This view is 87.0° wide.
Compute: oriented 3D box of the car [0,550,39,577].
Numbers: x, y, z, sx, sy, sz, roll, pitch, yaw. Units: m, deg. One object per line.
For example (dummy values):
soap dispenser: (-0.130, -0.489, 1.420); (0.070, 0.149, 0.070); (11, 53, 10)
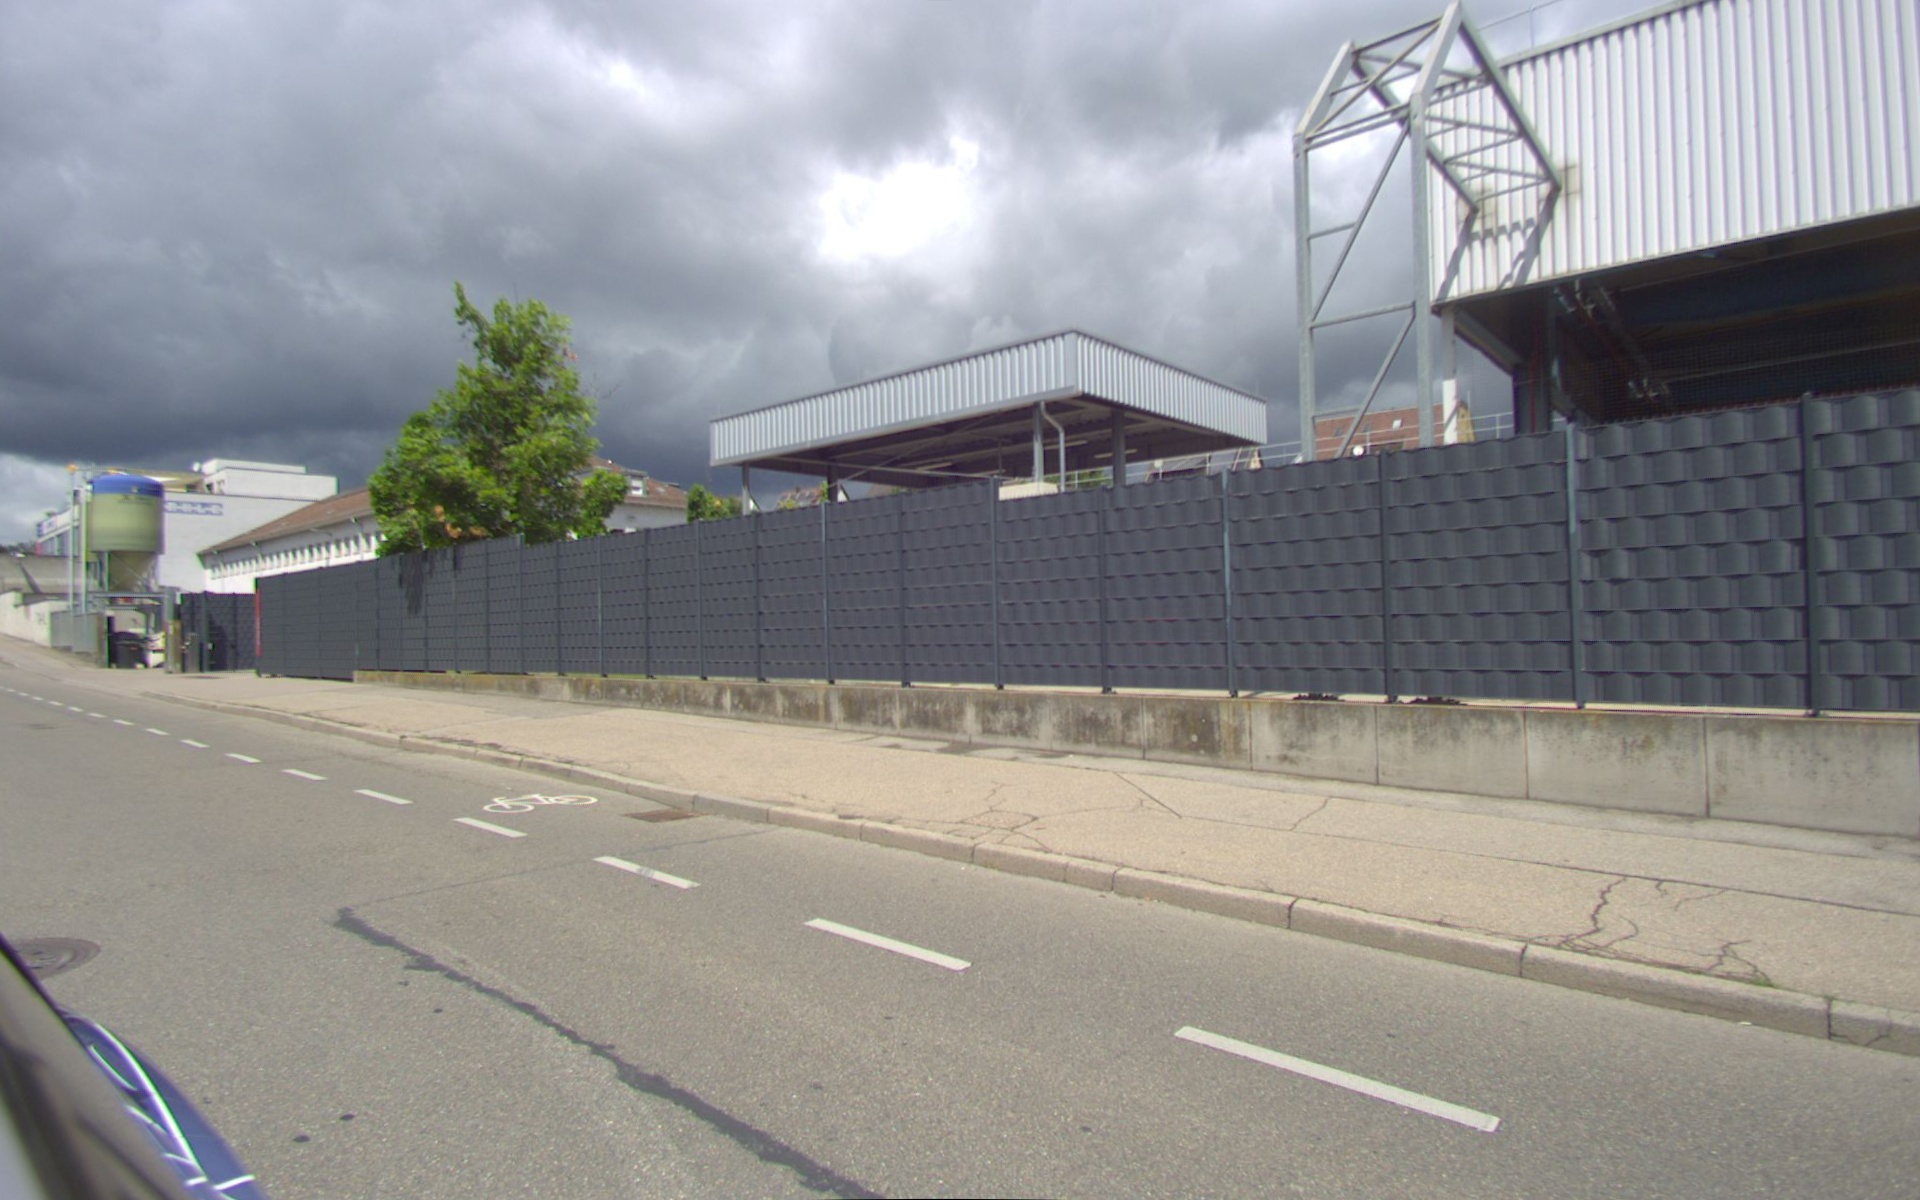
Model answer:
car: (-59.766, -2.297, 64.052); (4.104, 1.649, 1.787); (1, 1, 42)

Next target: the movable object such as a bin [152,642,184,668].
movable object such as a bin: (-32.519, 2.249, 41.563); (0.853, 1.009, 0.729); (-2, -1, 24)

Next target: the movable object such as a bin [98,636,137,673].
movable object such as a bin: (-32.954, 2.121, 39.593); (1.215, 1.404, 0.980); (-2, -4, 43)

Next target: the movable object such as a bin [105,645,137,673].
movable object such as a bin: (-32.255, 2.272, 38.904); (0.741, 1.058, 0.862); (-3, -4, 44)
